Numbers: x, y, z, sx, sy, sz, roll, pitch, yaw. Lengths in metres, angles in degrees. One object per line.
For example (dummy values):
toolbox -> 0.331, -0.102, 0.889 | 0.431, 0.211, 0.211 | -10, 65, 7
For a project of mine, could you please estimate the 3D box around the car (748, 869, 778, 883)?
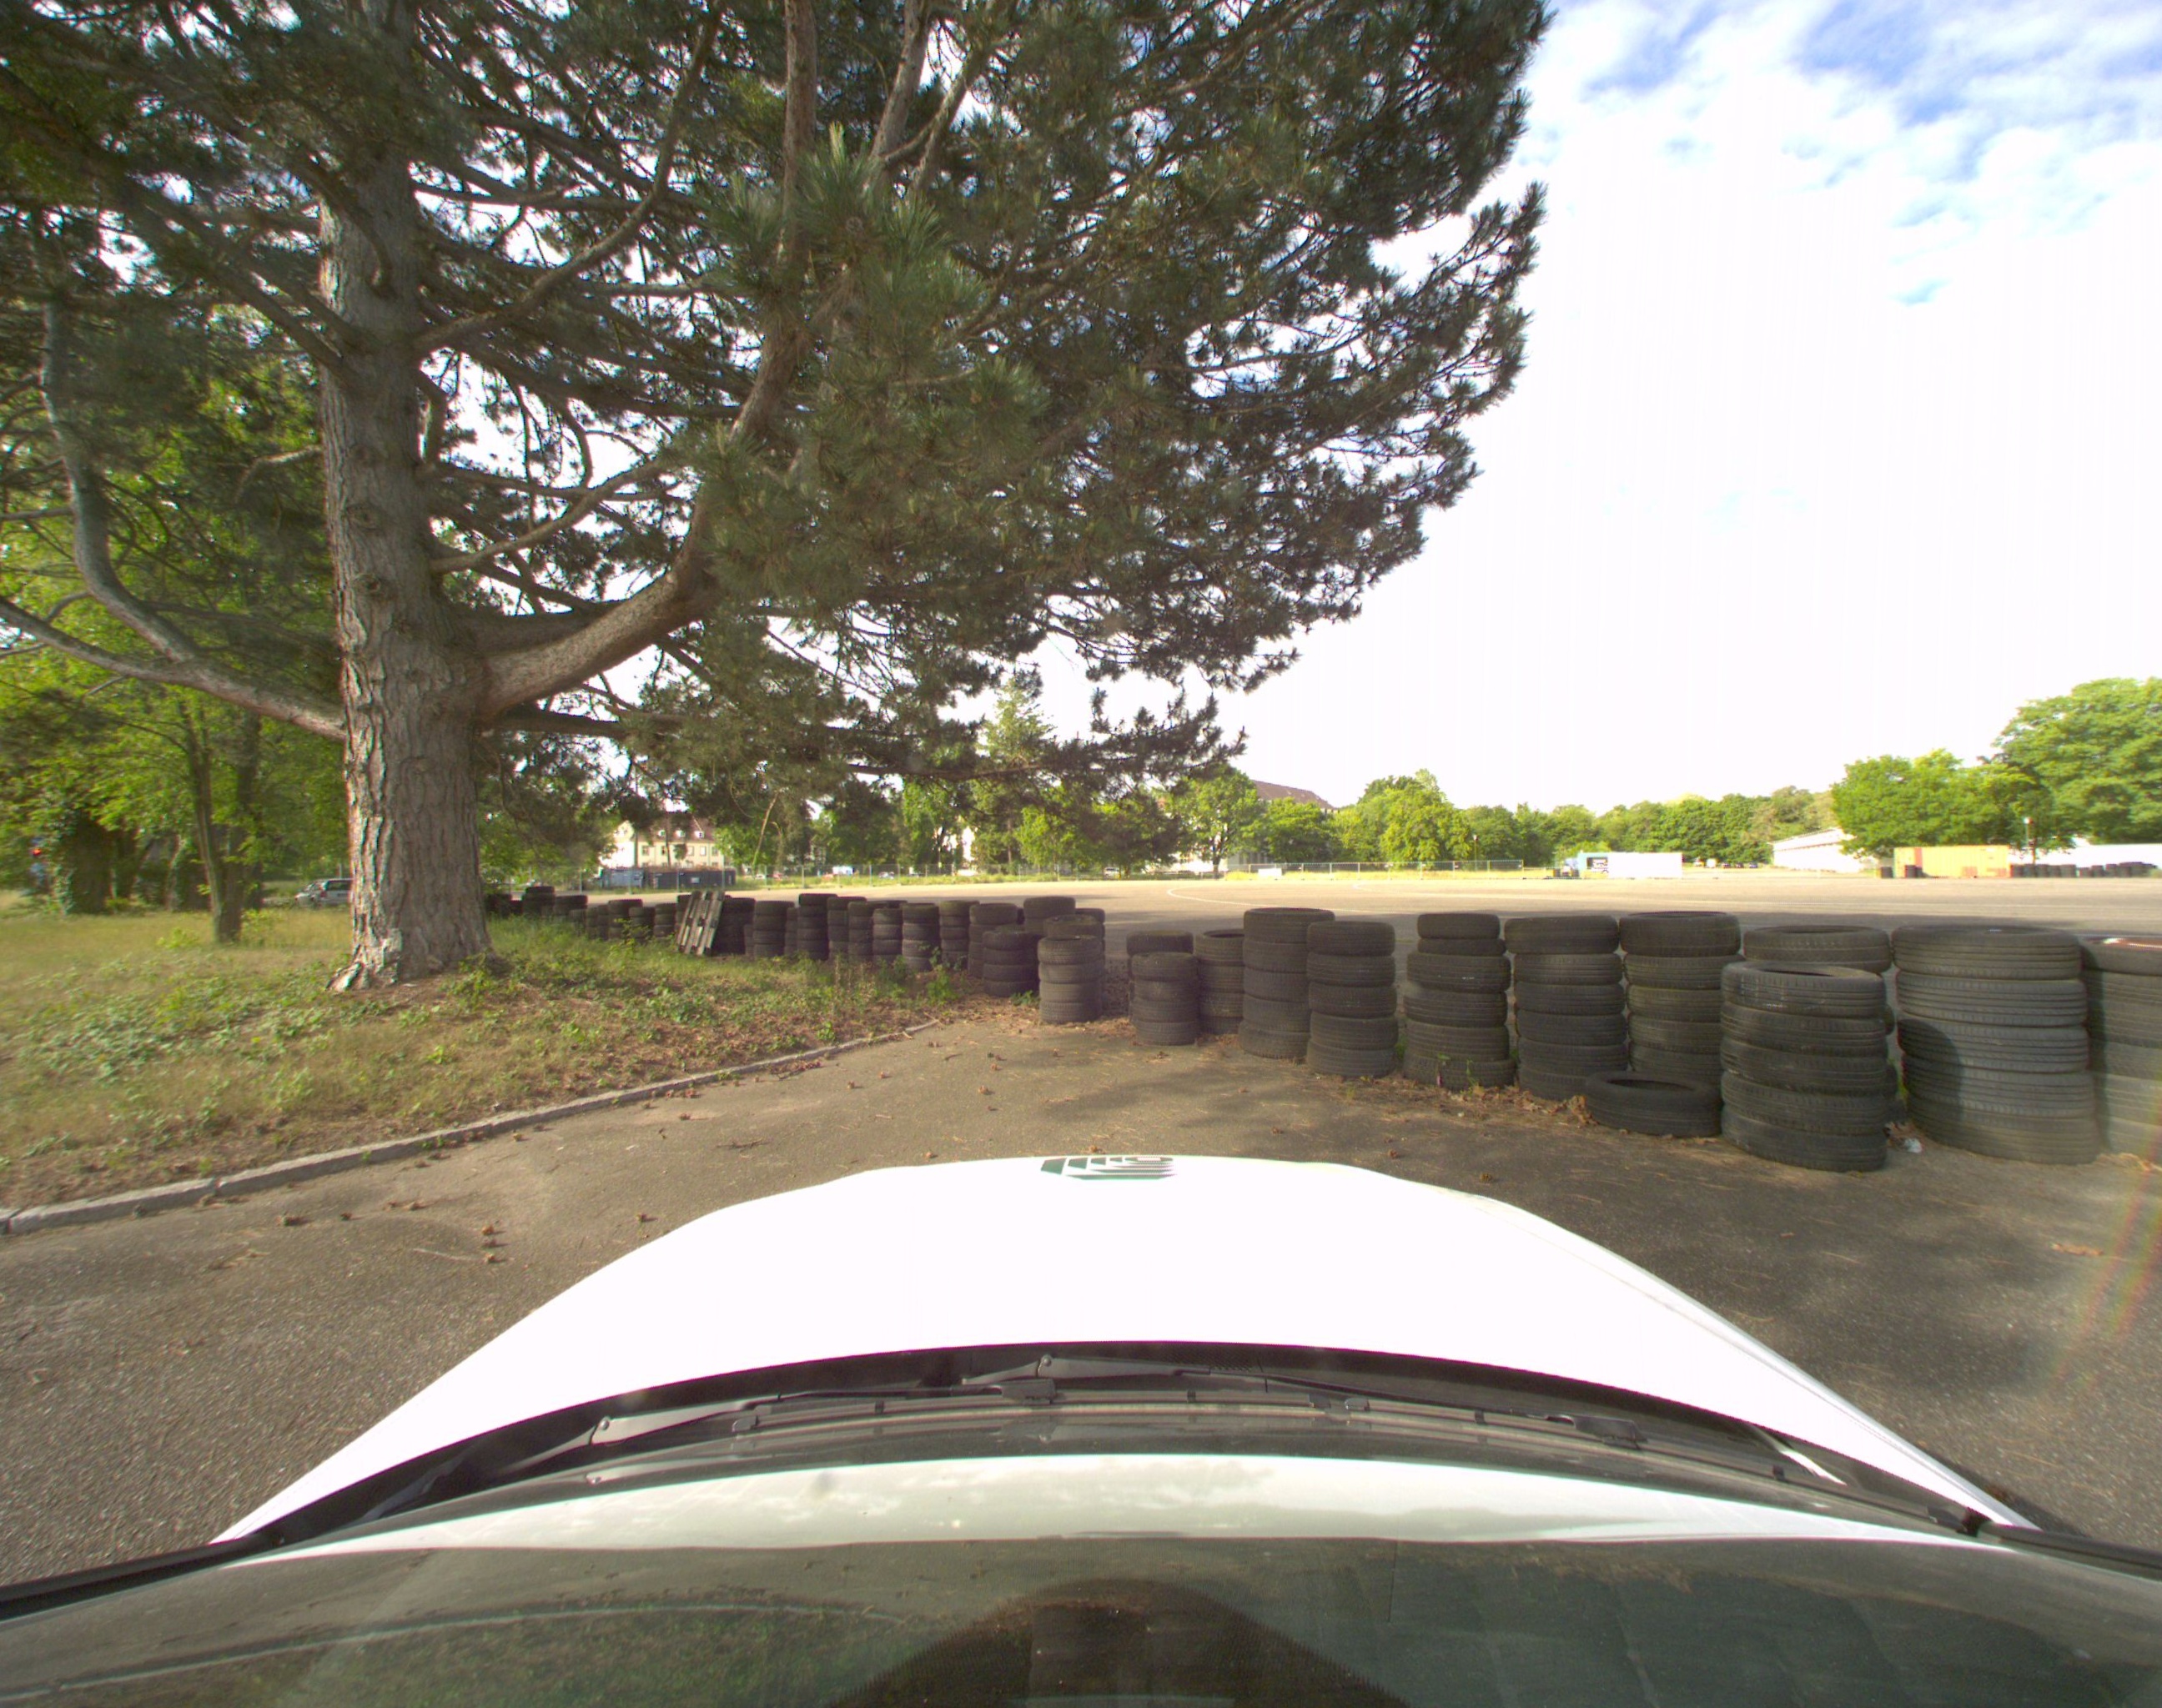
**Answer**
car -> -40.504, 2.766, 103.722 | 3.949, 1.750, 2.012 | -2, -1, 42

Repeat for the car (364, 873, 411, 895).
car -> -55.375, 2.385, 65.007 | 3.948, 1.618, 2.013 | -2, -1, 37

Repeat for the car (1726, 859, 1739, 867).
car -> 154.118, 2.122, 192.618 | 1.974, 1.750, 4.025 | -1, -1, 34

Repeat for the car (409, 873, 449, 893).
car -> -53.929, 2.386, 67.328 | 3.948, 1.618, 1.838 | -2, -1, 39

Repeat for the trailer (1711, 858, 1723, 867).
trailer -> 152.808, 2.059, 195.638 | 2.038, 2.014, 4.025 | -1, -1, 35

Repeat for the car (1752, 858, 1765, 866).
car -> 158.061, 1.896, 189.947 | 1.974, 1.750, 4.025 | -1, -1, 34

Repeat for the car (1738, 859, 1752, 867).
car -> 156.038, 2.045, 191.436 | 2.011, 1.809, 4.025 | -2, -1, 34

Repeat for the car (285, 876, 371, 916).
car -> -32.034, 1.750, 34.626 | 3.948, 1.541, 1.904 | -1, -1, 35

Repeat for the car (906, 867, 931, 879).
car -> -24.738, 2.909, 124.015 | 2.011, 1.750, 3.951 | 0, -1, -43

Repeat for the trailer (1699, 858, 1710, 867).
trailer -> 151.640, 2.071, 198.174 | 1.974, 2.014, 4.025 | -1, -1, 35

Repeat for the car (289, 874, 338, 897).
car -> -56.605, 2.298, 60.025 | 3.948, 1.618, 2.013 | -2, -1, 37
